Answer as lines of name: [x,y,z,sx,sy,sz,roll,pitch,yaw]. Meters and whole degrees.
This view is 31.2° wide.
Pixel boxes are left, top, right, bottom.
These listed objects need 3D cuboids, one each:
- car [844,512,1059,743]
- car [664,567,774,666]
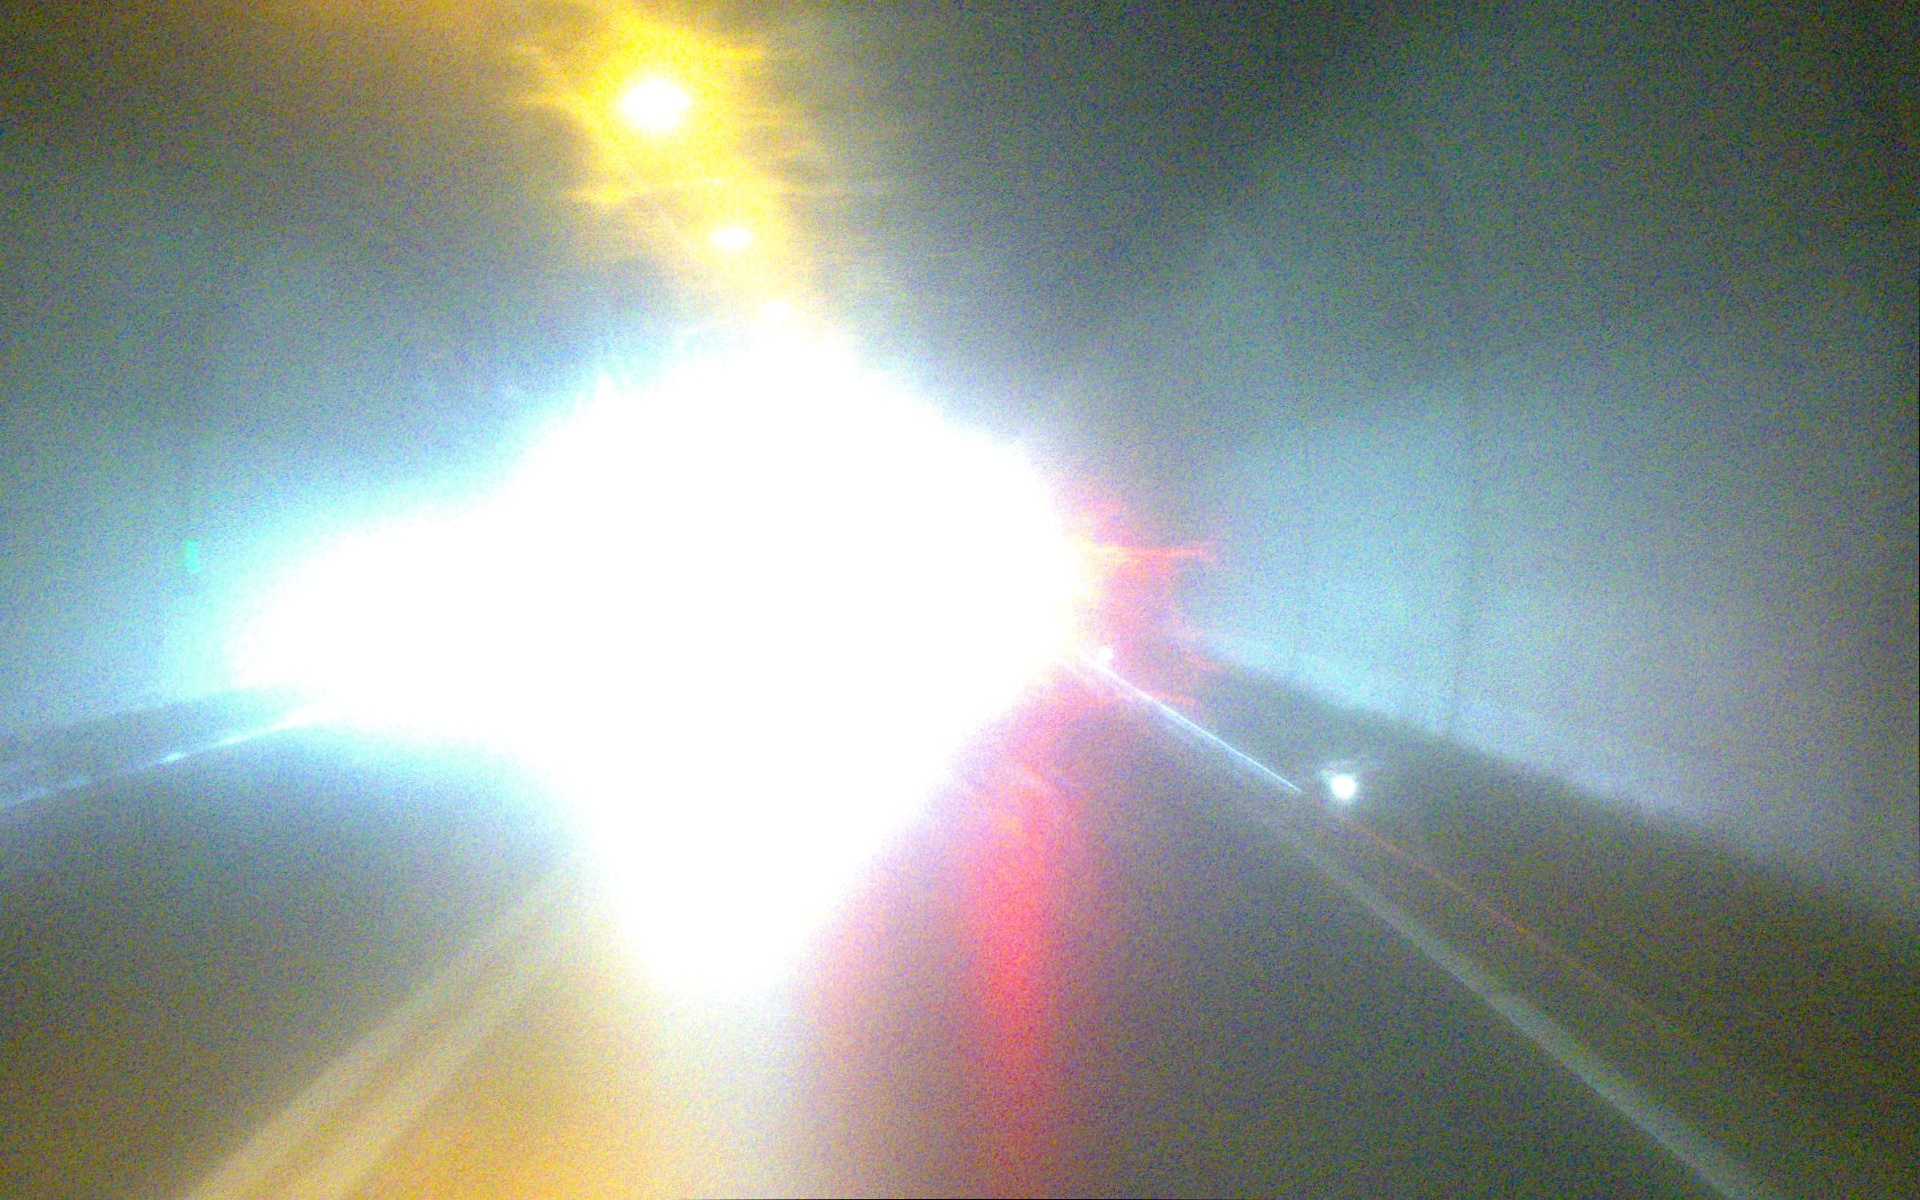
car: [-0.055,0.162,28.562,1.635,1.752,4.146,0,2,0]
car: [-4.241,0.265,60.980,1.635,1.597,4.146,0,2,0]
